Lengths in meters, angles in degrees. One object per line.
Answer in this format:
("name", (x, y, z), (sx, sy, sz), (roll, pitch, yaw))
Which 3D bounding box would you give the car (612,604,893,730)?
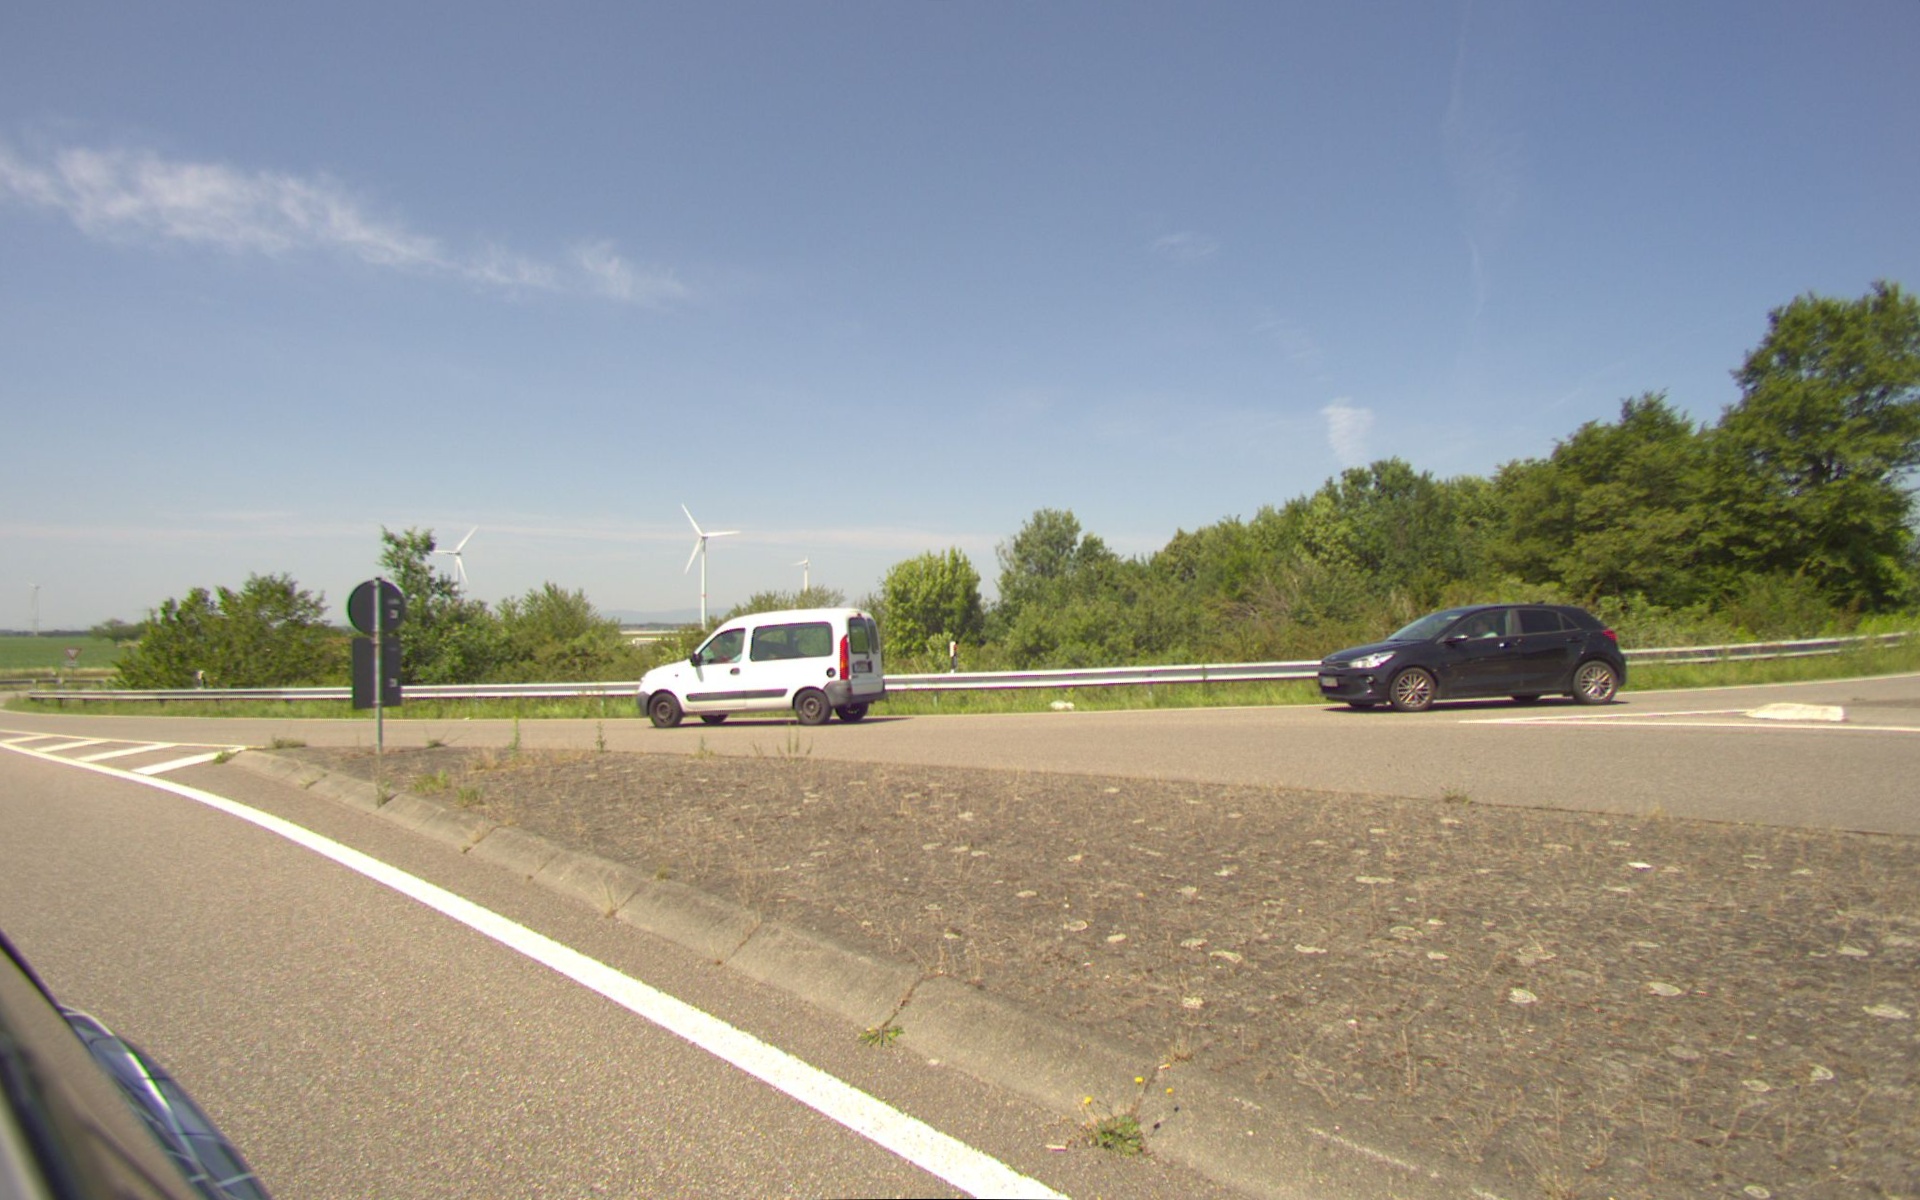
("car", (-3.293, 1.085, 16.176), (4.048, 1.775, 1.732), (-3, -3, 17))

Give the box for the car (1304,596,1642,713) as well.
("car", (7.140, 0.777, 14.355), (3.829, 1.406, 1.715), (-2, -4, -3))
